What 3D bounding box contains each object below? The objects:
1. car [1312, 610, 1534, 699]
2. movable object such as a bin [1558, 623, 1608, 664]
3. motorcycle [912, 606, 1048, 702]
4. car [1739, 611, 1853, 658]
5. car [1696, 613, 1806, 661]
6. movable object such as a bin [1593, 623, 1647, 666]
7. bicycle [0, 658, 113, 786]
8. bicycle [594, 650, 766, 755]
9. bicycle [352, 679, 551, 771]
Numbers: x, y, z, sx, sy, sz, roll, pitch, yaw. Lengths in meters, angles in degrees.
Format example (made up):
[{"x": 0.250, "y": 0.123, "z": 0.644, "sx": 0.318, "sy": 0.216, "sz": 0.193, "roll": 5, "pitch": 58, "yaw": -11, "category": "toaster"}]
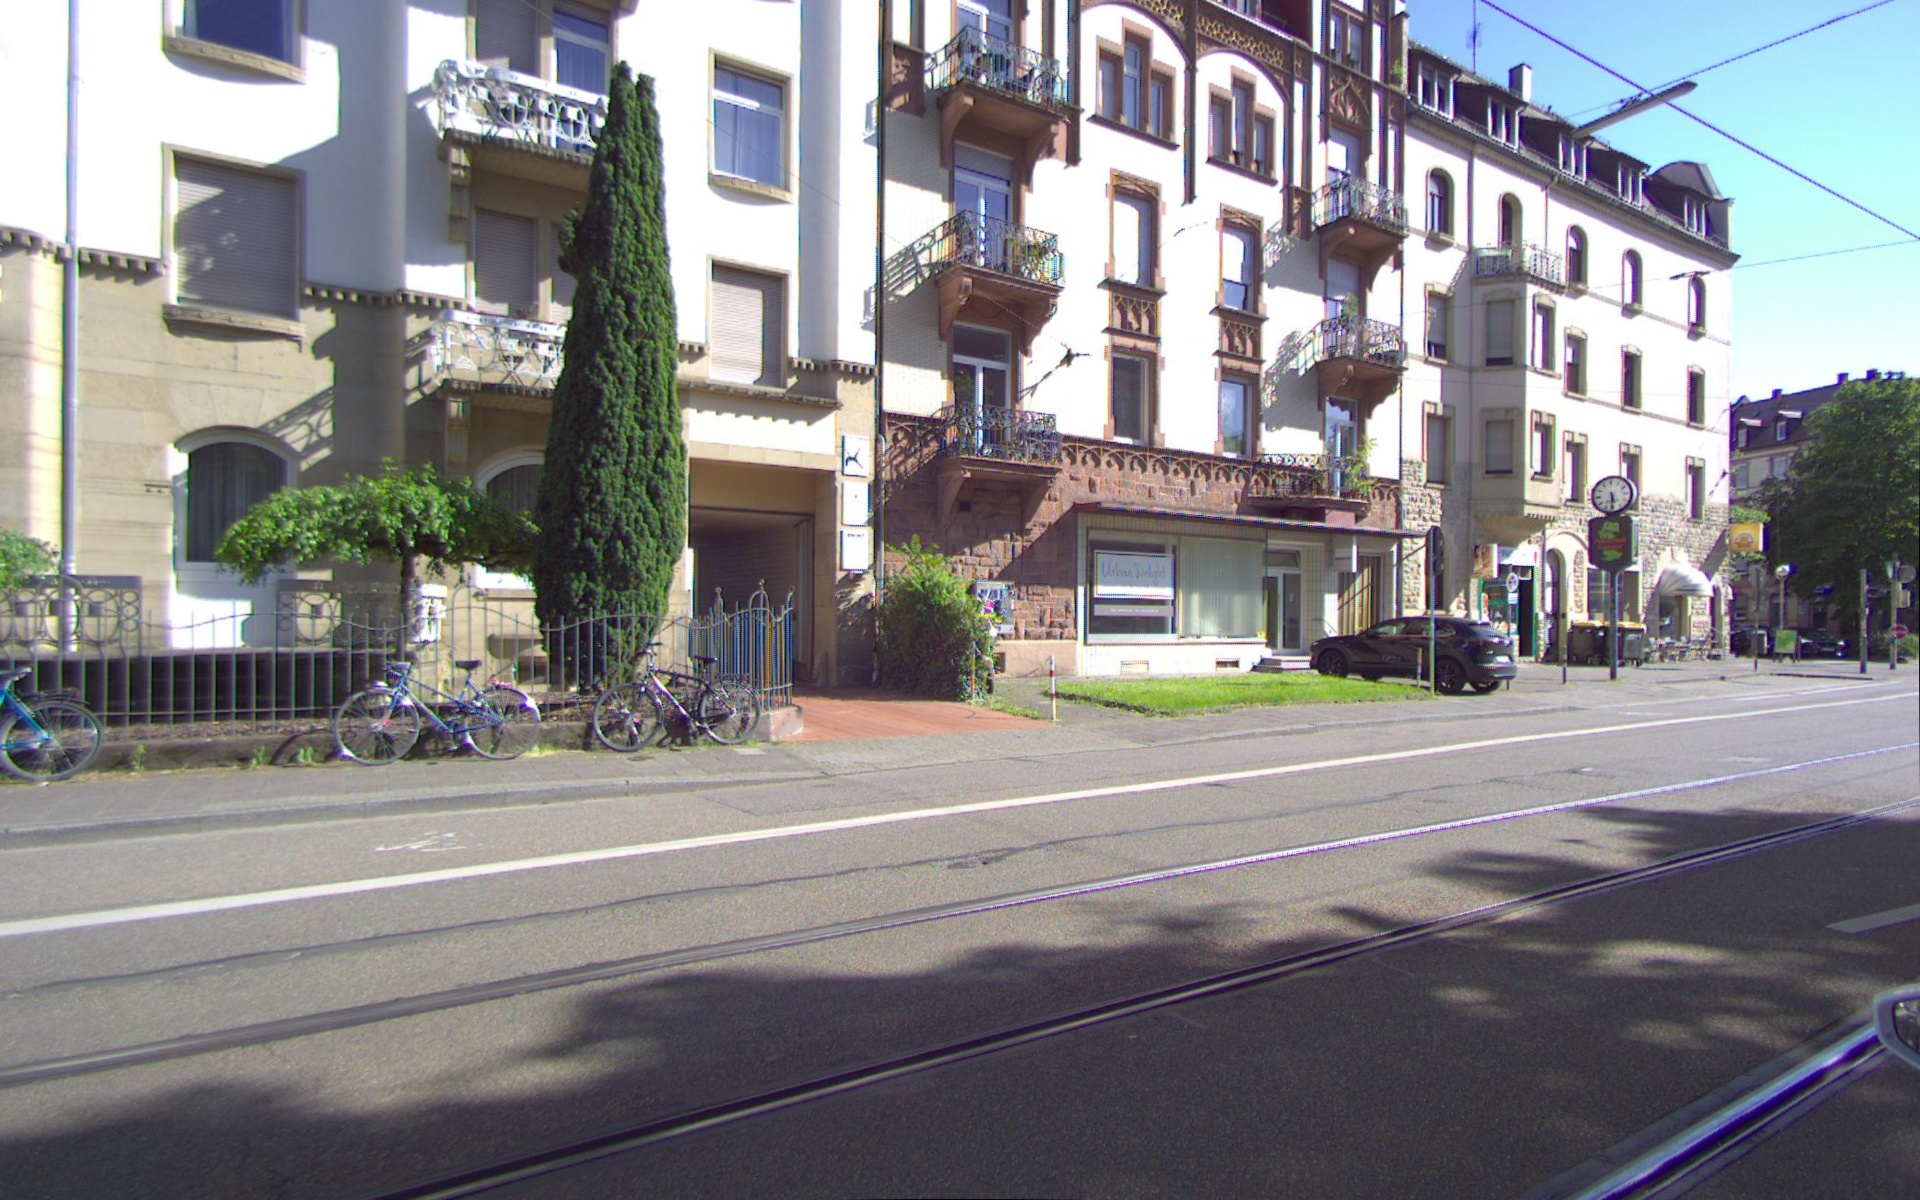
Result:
[{"x": 9.861, "y": 1.098, "z": 21.653, "sx": 1.755, "sy": 1.523, "sz": 3.958, "roll": 2, "pitch": 1, "yaw": -36, "category": "car"}, {"x": 19.865, "y": 1.389, "z": 32.011, "sx": 1.228, "sy": 1.239, "sz": 0.829, "roll": 2, "pitch": 0, "yaw": -28, "category": "movable object such as a bin"}, {"x": 0.275, "y": 0.883, "z": 17.628, "sx": 0.814, "sy": 1.476, "sz": 3.067, "roll": 2, "pitch": 0, "yaw": -32, "category": "motorcycle"}, {"x": 39.313, "y": 1.586, "z": 47.376, "sx": 1.961, "sy": 2.040, "sz": 3.999, "roll": 2, "pitch": 0, "yaw": -1, "category": "car"}, {"x": 37.065, "y": 1.692, "z": 47.200, "sx": 1.961, "sy": 2.040, "sz": 3.999, "roll": 2, "pitch": 0, "yaw": -1, "category": "car"}, {"x": 20.629, "y": 1.392, "z": 31.393, "sx": 1.128, "sy": 1.290, "sz": 0.942, "roll": 2, "pitch": 0, "yaw": -26, "category": "movable object such as a bin"}, {"x": -7.705, "y": 0.937, "z": 7.739, "sx": 1.728, "sy": 0.955, "sz": 0.402, "roll": 2, "pitch": 0, "yaw": -31, "category": "bicycle"}, {"x": -3.003, "y": 1.078, "z": 10.846, "sx": 1.728, "sy": 1.053, "sz": 0.402, "roll": 2, "pitch": 0, "yaw": -31, "category": "bicycle"}, {"x": -4.760, "y": 1.149, "z": 9.460, "sx": 1.633, "sy": 0.772, "sz": 0.316, "roll": 2, "pitch": 0, "yaw": -31, "category": "bicycle"}]
